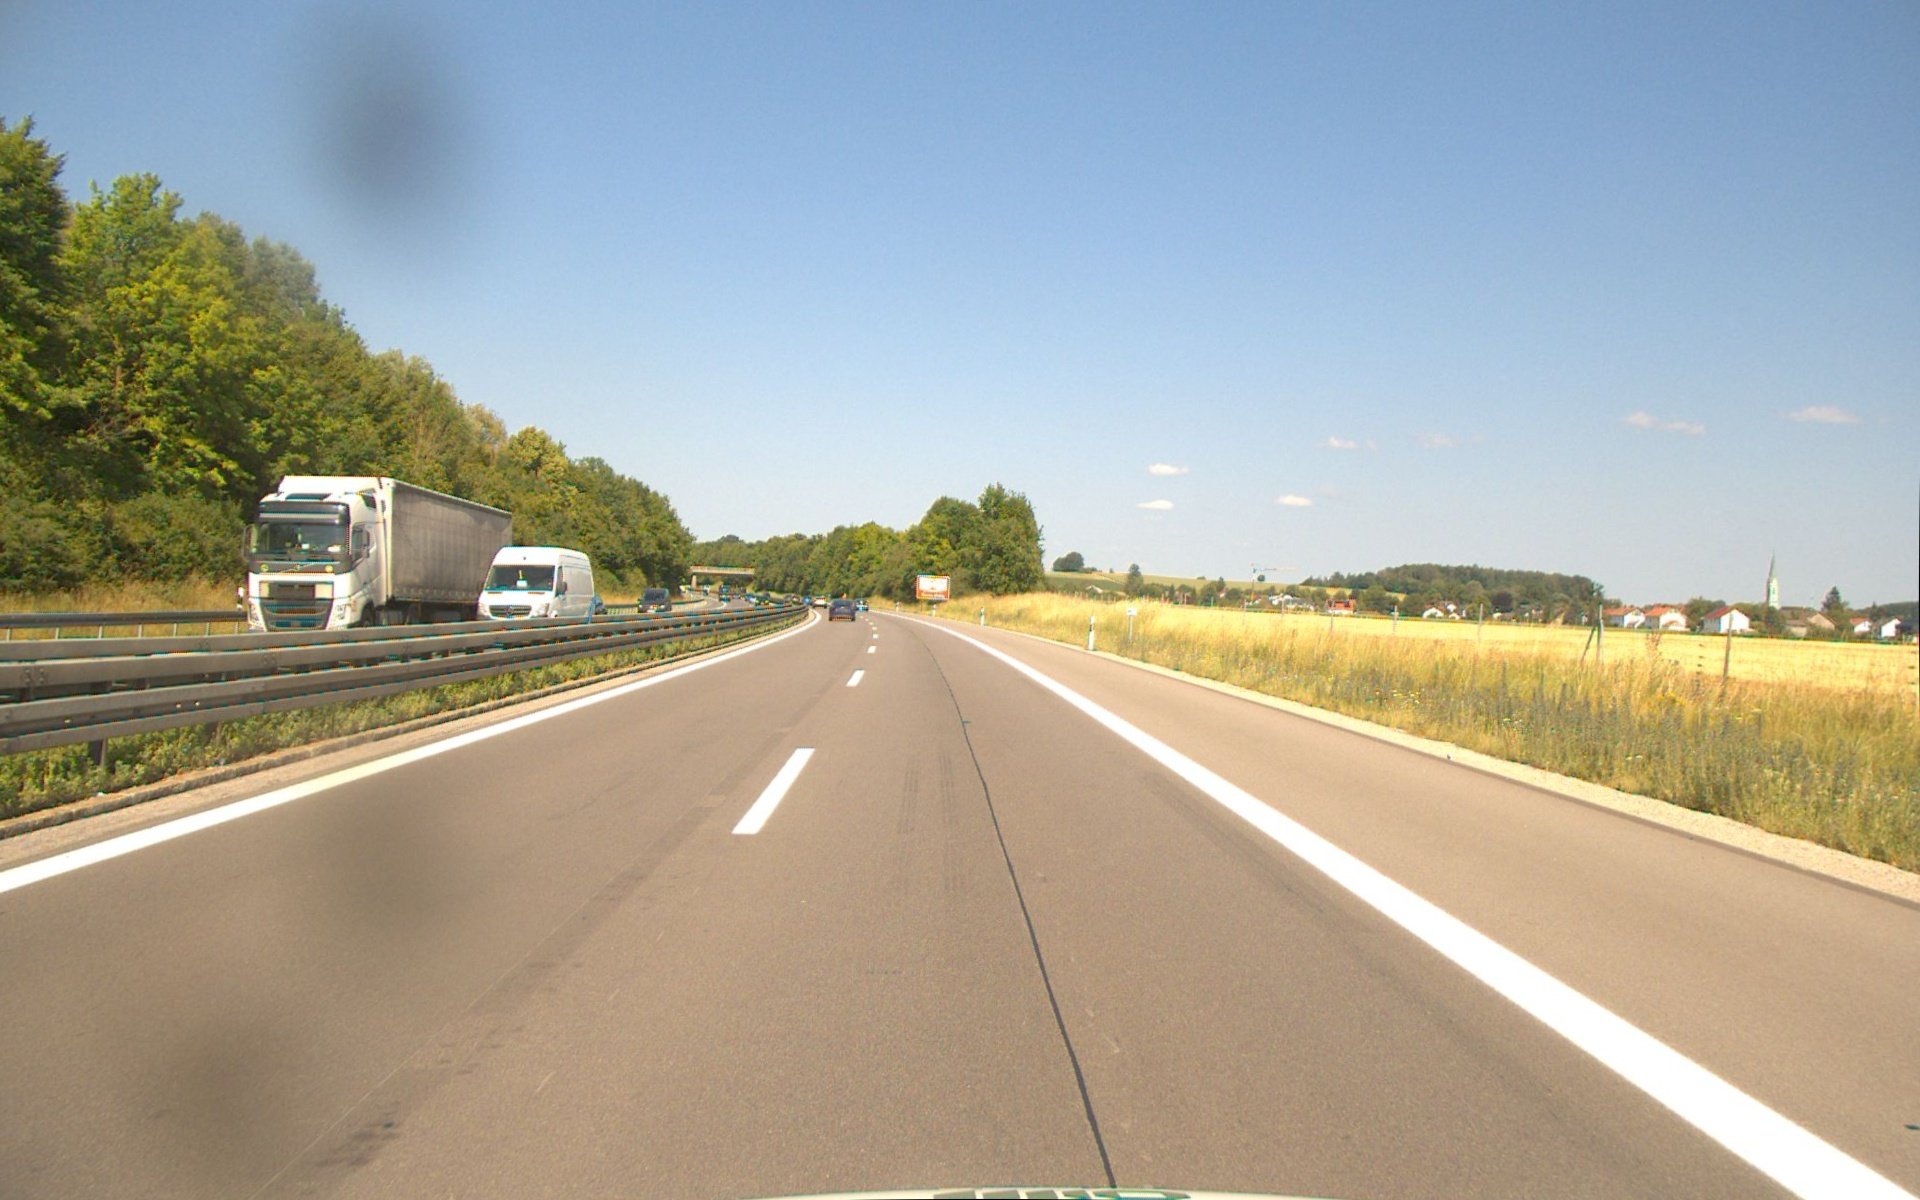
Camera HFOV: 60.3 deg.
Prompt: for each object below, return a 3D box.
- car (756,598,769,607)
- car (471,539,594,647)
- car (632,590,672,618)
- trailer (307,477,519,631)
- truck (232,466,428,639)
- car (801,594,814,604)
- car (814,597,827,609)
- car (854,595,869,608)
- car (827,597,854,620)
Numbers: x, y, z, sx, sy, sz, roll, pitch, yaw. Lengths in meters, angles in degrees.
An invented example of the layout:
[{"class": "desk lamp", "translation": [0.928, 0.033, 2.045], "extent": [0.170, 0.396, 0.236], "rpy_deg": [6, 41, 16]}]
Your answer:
[{"class": "car", "translation": [-26.925, 0.338, 225.459], "extent": [1.359, 1.182, 3.251], "rpy_deg": [2, 0, -1]}, {"class": "car", "translation": [-11.369, -0.190, 44.416], "extent": [2.047, 2.639, 5.810], "rpy_deg": [2, 0, -3]}, {"class": "car", "translation": [-19.058, 0.231, 102.531], "extent": [1.722, 1.655, 3.999], "rpy_deg": [2, 0, -1]}, {"class": "trailer", "translation": [-15.723, -1.207, 48.706], "extent": [2.691, 3.896, 11.916], "rpy_deg": [2, 0, -3]}, {"class": "truck", "translation": [-15.401, -1.101, 40.885], "extent": [2.691, 3.896, 5.908], "rpy_deg": [2, 0, -3]}, {"class": "car", "translation": [-24.061, -0.184, 260.927], "extent": [1.642, 1.478, 3.591], "rpy_deg": [2, 0, -1]}, {"class": "car", "translation": [-18.668, 0.398, 221.463], "extent": [1.643, 1.478, 3.590], "rpy_deg": [2, 0, -3]}, {"class": "car", "translation": [-11.433, 0.189, 192.210], "extent": [1.643, 1.478, 3.590], "rpy_deg": [2, 0, -3]}, {"class": "car", "translation": [-8.238, 0.544, 114.657], "extent": [1.811, 1.457, 5.861], "rpy_deg": [1, 1, -4]}]
